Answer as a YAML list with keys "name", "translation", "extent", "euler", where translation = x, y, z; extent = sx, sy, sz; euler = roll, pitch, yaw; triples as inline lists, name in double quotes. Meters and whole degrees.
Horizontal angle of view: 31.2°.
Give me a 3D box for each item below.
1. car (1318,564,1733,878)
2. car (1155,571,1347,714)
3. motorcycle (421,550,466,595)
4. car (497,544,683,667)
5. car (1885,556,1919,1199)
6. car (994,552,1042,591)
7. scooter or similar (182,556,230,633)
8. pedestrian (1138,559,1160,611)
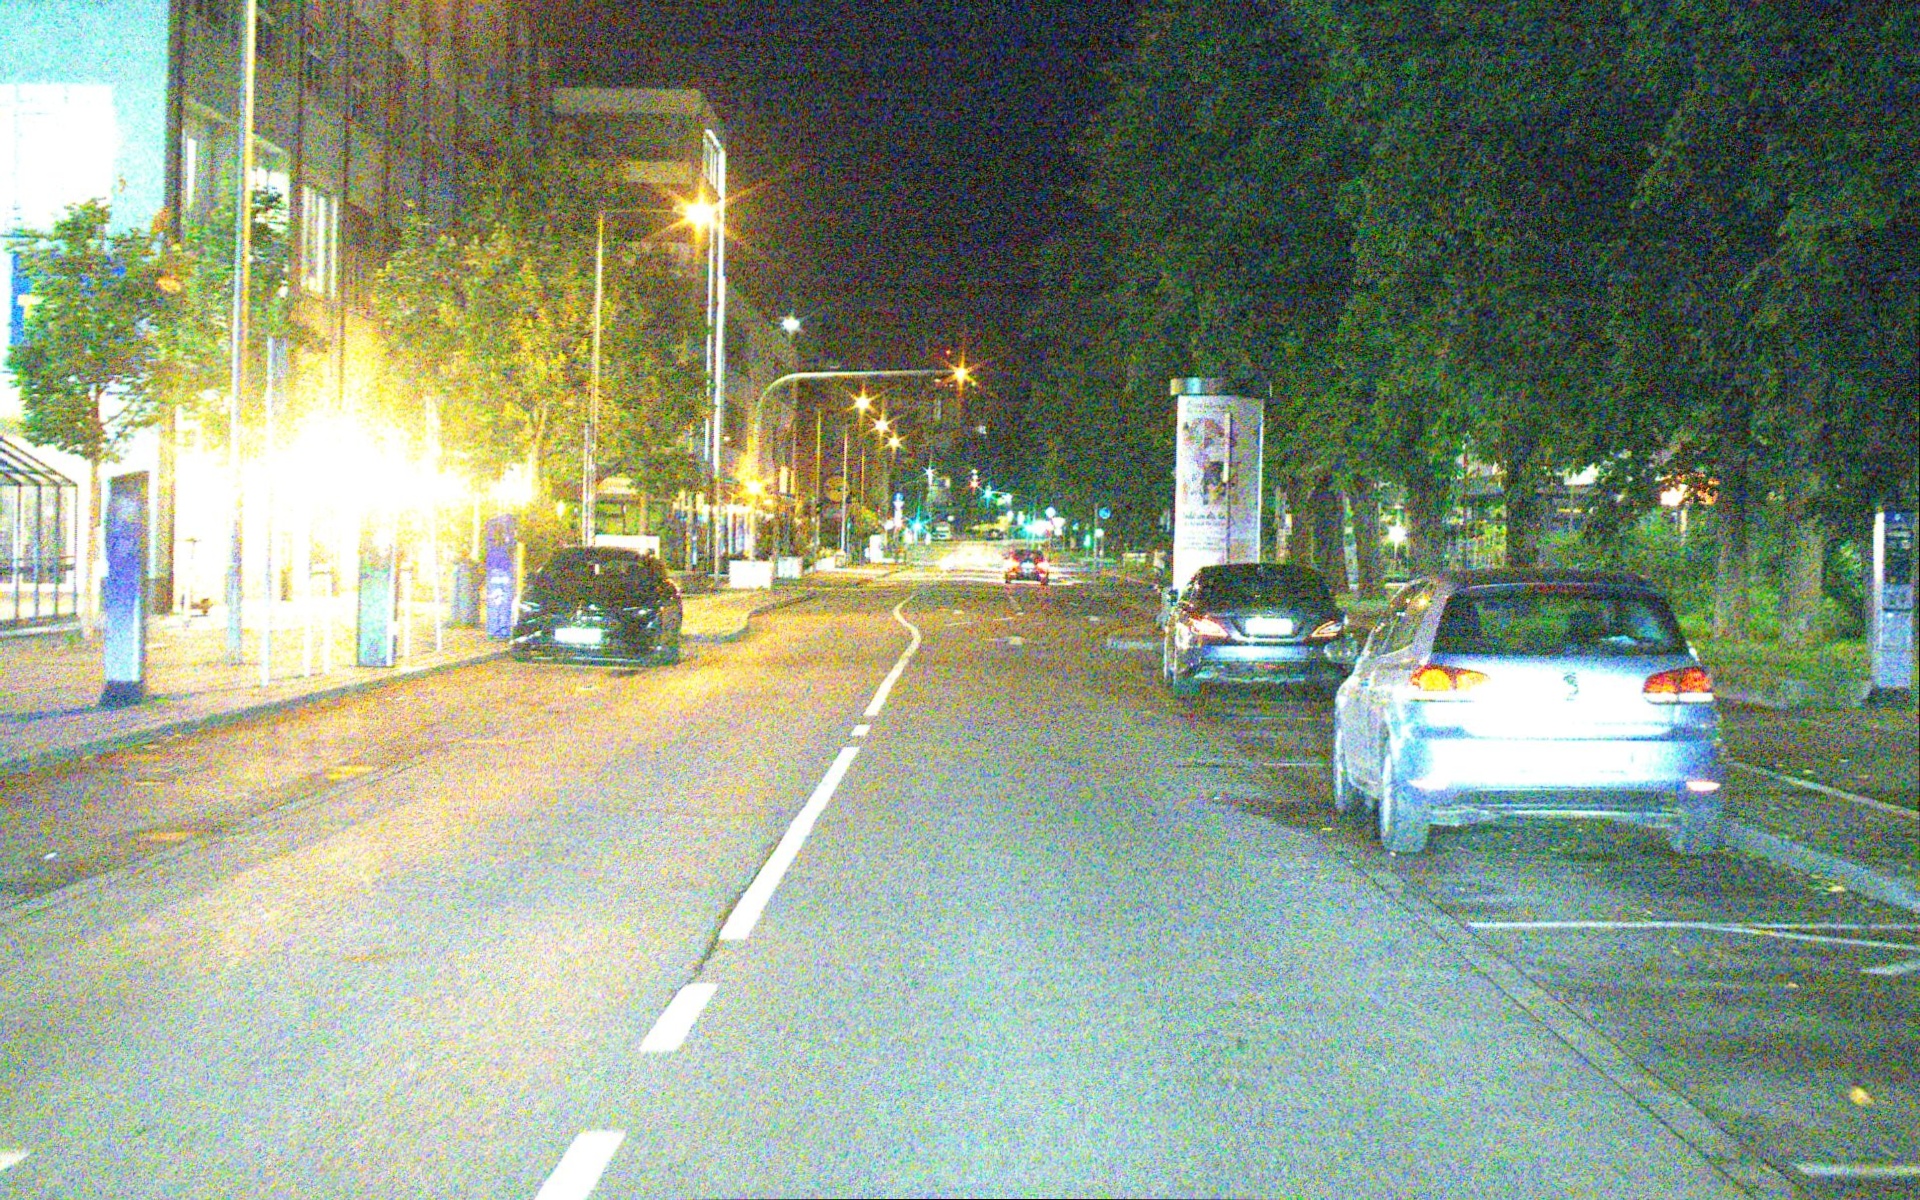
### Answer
- name: "car"
  translation: [3.022, 0.581, 19.111]
  extent: [1.689, 1.531, 4.015]
  euler: [0, 1, 1]
- name: "car"
  translation: [3.123, 0.416, 37.696]
  extent: [1.764, 1.409, 4.807]
  euler: [1, 1, 1]
- name: "motorcycle"
  translation: [-12.049, -0.650, 80.164]
  extent: [0.478, 1.017, 1.674]
  euler: [2, 1, 11]
- name: "car"
  translation: [-4.642, 0.033, 43.668]
  extent: [1.741, 1.408, 4.495]
  euler: [2, 1, 1]
- name: "car"
  translation: [2.891, 0.690, 5.439]
  extent: [1.770, 1.531, 4.216]
  euler: [-1, 1, 1]
- name: "car"
  translation: [2.461, -1.242, 146.738]
  extent: [1.993, 1.637, 4.000]
  euler: [0, 1, 0]
- name: "scooter or similar"
  translation: [-12.028, -0.094, 54.873]
  extent: [0.387, 1.217, 1.343]
  euler: [1, 1, 3]
- name: "pedestrian"
  translation: [6.767, -0.543, 123.250]
  extent: [0.703, 1.812, 1.082]
  euler: [1, 1, 1]
